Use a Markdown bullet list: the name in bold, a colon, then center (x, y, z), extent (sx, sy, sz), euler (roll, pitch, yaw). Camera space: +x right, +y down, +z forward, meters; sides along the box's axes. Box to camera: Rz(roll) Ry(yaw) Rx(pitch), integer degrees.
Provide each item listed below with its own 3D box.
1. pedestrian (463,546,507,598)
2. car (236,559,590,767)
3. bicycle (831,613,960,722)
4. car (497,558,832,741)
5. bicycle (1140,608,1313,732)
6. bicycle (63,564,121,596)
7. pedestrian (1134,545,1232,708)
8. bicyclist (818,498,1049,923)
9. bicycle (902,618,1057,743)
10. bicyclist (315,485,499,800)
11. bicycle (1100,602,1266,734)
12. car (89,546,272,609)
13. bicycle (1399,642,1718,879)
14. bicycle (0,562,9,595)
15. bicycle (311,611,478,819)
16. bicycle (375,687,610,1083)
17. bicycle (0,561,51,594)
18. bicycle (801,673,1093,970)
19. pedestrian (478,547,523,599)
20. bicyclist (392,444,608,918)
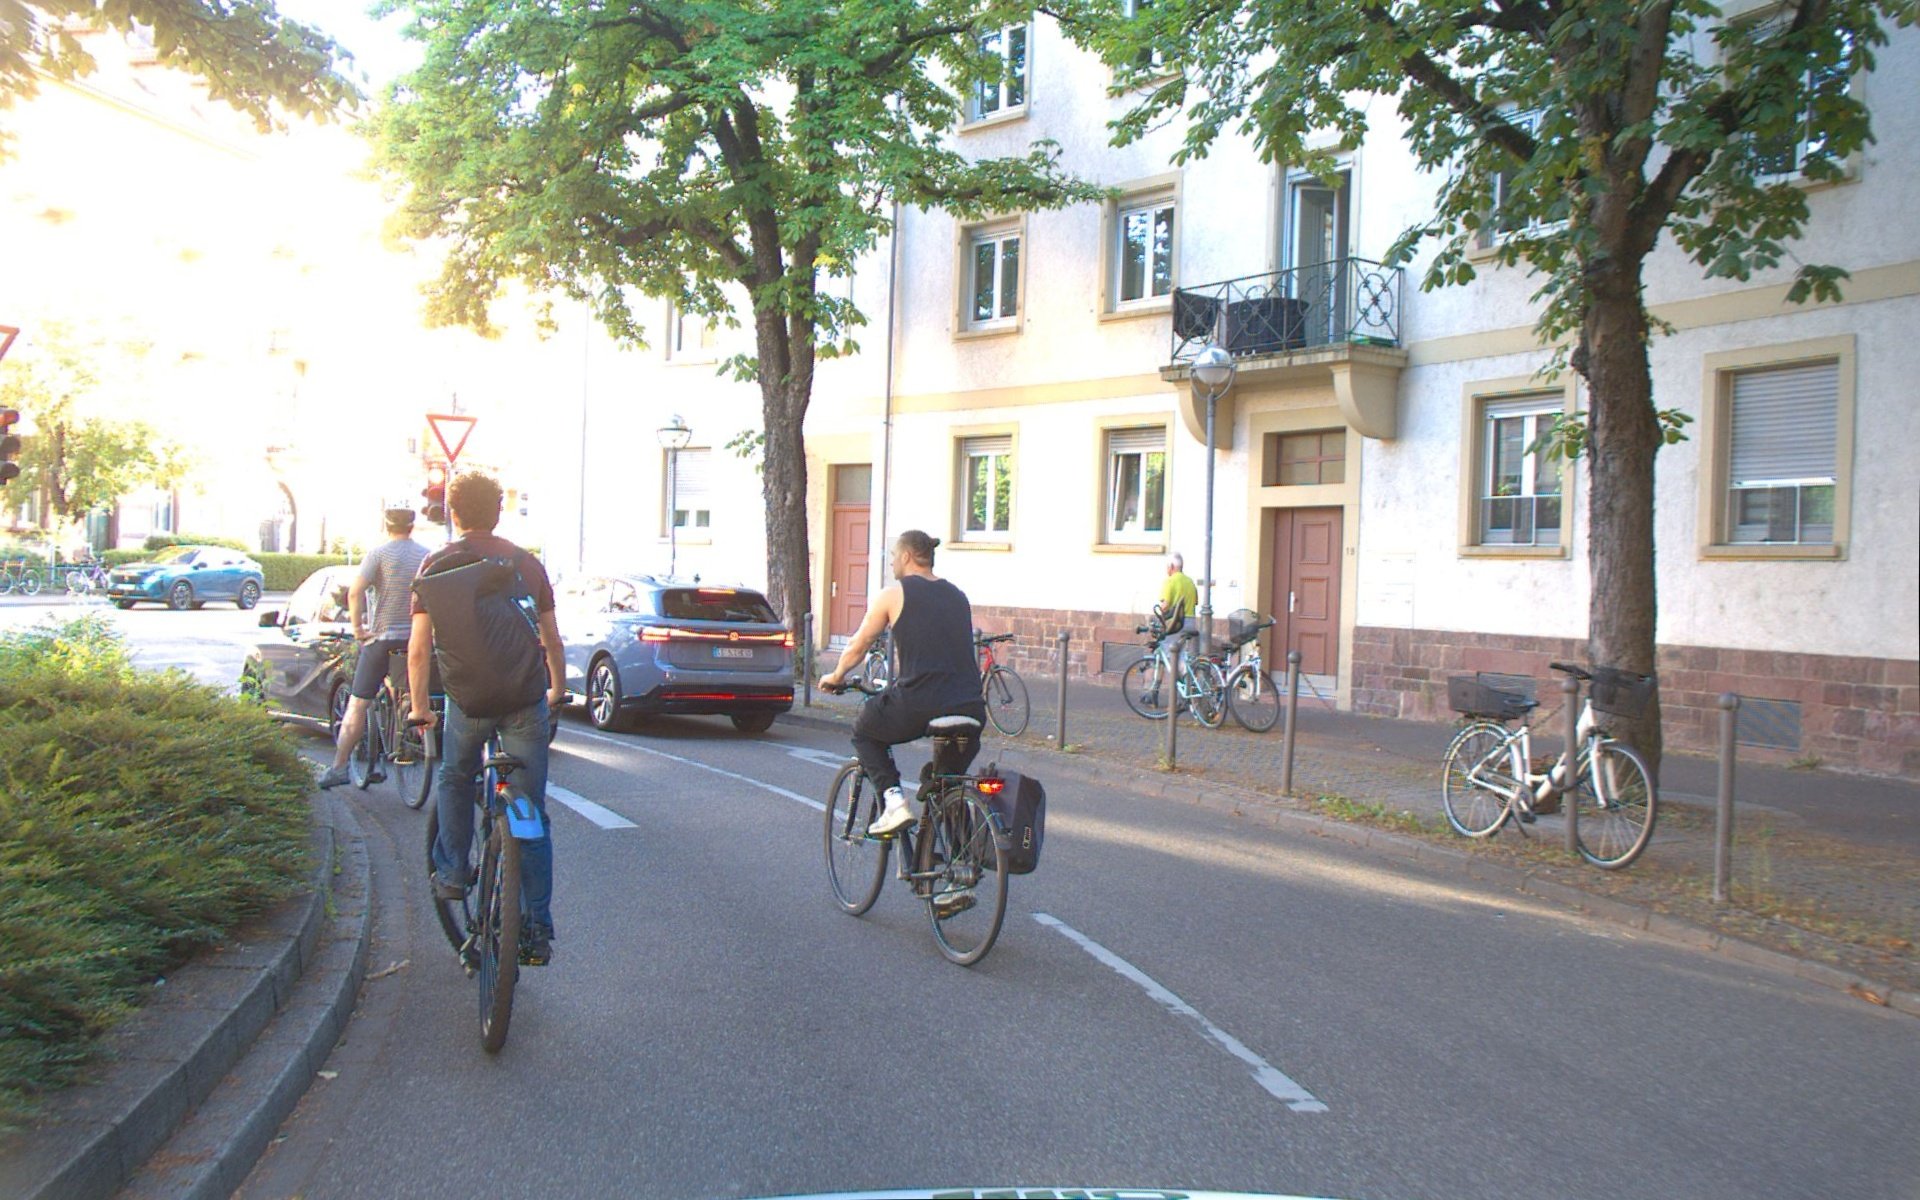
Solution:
- **pedestrian**: center (-18.747, -1.111, 65.331), extent (1.133, 1.996, 1.388), euler (2, 0, 10)
- **car**: center (-4.944, 0.431, 14.626), extent (1.800, 1.570, 3.905), euler (-1, 1, -38)
- **bicycle**: center (-0.717, 0.684, 17.612), extent (0.513, 1.016, 2.173), euler (2, 1, -26)
- **car**: center (-3.161, 0.431, 17.094), extent (1.876, 1.605, 3.950), euler (2, 1, -36)
- **bicycle**: center (2.723, 0.690, 17.151), extent (0.575, 1.133, 2.096), euler (1, 1, -29)
- **bicycle**: center (-24.820, -0.566, 47.302), extent (0.440, 0.876, 1.444), euler (2, 1, 29)
- **pedestrian**: center (2.578, 0.288, 19.095), extent (0.648, 1.826, 0.991), euler (2, 2, 43)
- **bicyclist**: center (-0.139, 0.447, 7.197), extent (0.740, 1.711, 0.909), euler (2, 1, -17)
- **bicycle**: center (0.166, 0.754, 16.299), extent (0.610, 1.076, 1.908), euler (0, 2, -31)
- **bicyclist**: center (-3.635, 0.248, 10.839), extent (0.843, 1.931, 1.126), euler (1, 1, -34)
- **bicycle**: center (2.228, 0.653, 16.839), extent (0.489, 1.192, 2.096), euler (-2, 2, -30)
- **car**: center (-20.365, -0.568, 43.447), extent (1.951, 1.522, 4.378), euler (2, 1, 15)
- **bicycle**: center (3.474, 0.878, 9.807), extent (0.607, 1.132, 1.978), euler (-2, 2, -23)
- **bicycle**: center (-25.952, -0.585, 43.830), extent (0.440, 0.876, 1.221), euler (2, 0, 29)
- **bicycle**: center (-3.792, 0.706, 10.982), extent (0.591, 1.182, 2.020), euler (2, 1, -32)
- **bicycle**: center (-1.660, 0.904, 5.996), extent (0.663, 1.072, 2.053), euler (1, 0, -14)
- **bicycle**: center (-25.433, -0.612, 44.920), extent (0.440, 0.876, 1.221), euler (2, 0, 29)
- **bicycle**: center (-0.133, 0.889, 7.289), extent (0.726, 1.030, 2.052), euler (3, -1, -16)
- **pedestrian**: center (-17.895, -1.045, 64.494), extent (1.133, 1.996, 1.388), euler (2, 0, 10)
- **bicyclist**: center (-1.646, 0.264, 5.981), extent (0.660, 1.541, 1.065), euler (1, 0, -15)
